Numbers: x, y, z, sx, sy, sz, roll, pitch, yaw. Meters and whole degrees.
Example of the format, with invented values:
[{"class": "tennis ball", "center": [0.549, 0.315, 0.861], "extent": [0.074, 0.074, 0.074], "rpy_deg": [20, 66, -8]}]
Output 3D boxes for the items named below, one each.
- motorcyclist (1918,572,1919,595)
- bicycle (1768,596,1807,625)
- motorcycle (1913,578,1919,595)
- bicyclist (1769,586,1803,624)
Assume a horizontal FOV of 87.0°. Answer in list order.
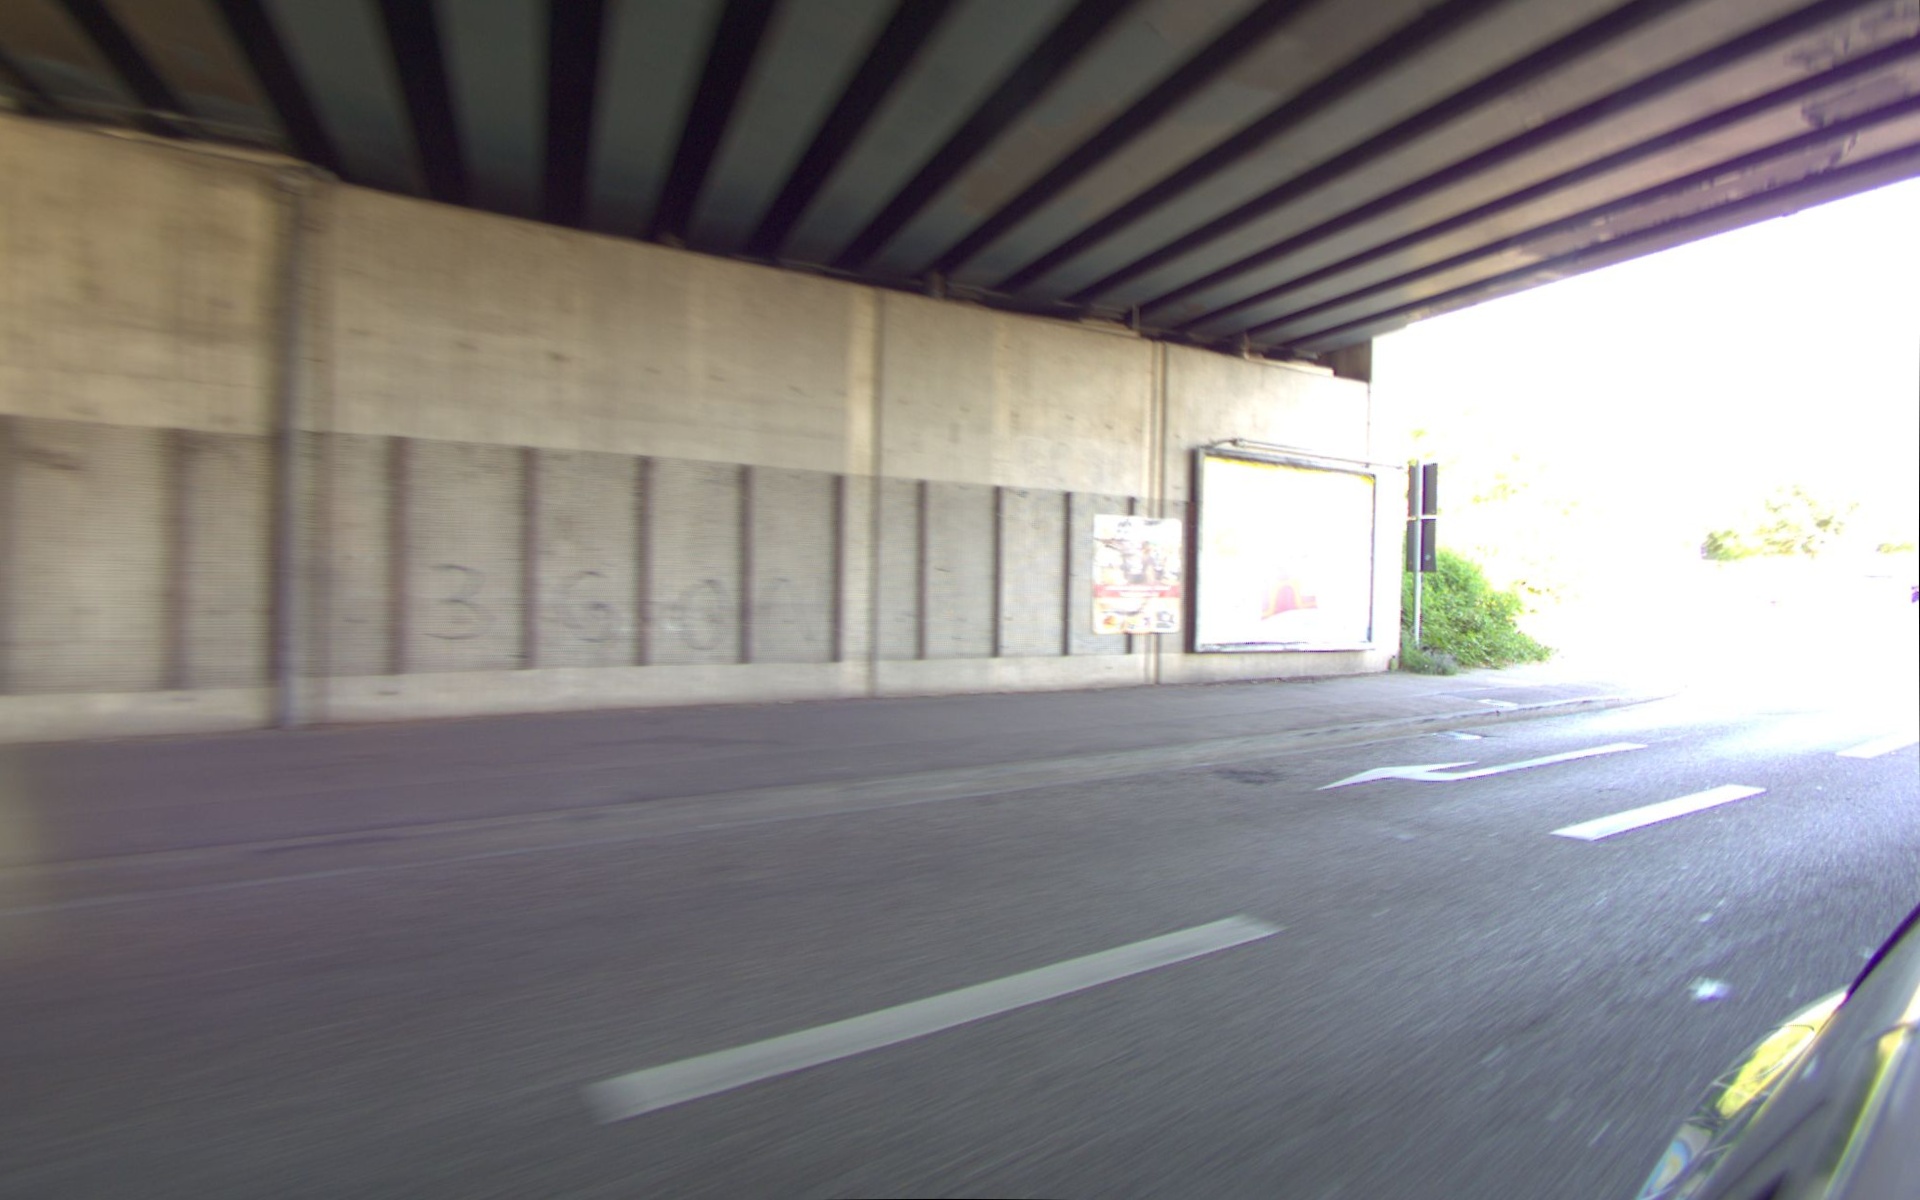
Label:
[{"class": "motorcyclist", "center": [60.855, -1.053, 63.539], "extent": [0.861, 1.460, 0.841], "rpy_deg": [0, 0, -30]}, {"class": "bicycle", "center": [31.406, 0.384, 38.433], "extent": [0.777, 1.071, 2.468], "rpy_deg": [-1, 0, 31]}, {"class": "motorcycle", "center": [60.818, -0.860, 63.510], "extent": [2.306, 1.059, 0.812], "rpy_deg": [-1, 0, -30]}, {"class": "bicyclist", "center": [31.440, 0.191, 38.530], "extent": [0.837, 1.439, 1.101], "rpy_deg": [-1, 0, 32]}]
